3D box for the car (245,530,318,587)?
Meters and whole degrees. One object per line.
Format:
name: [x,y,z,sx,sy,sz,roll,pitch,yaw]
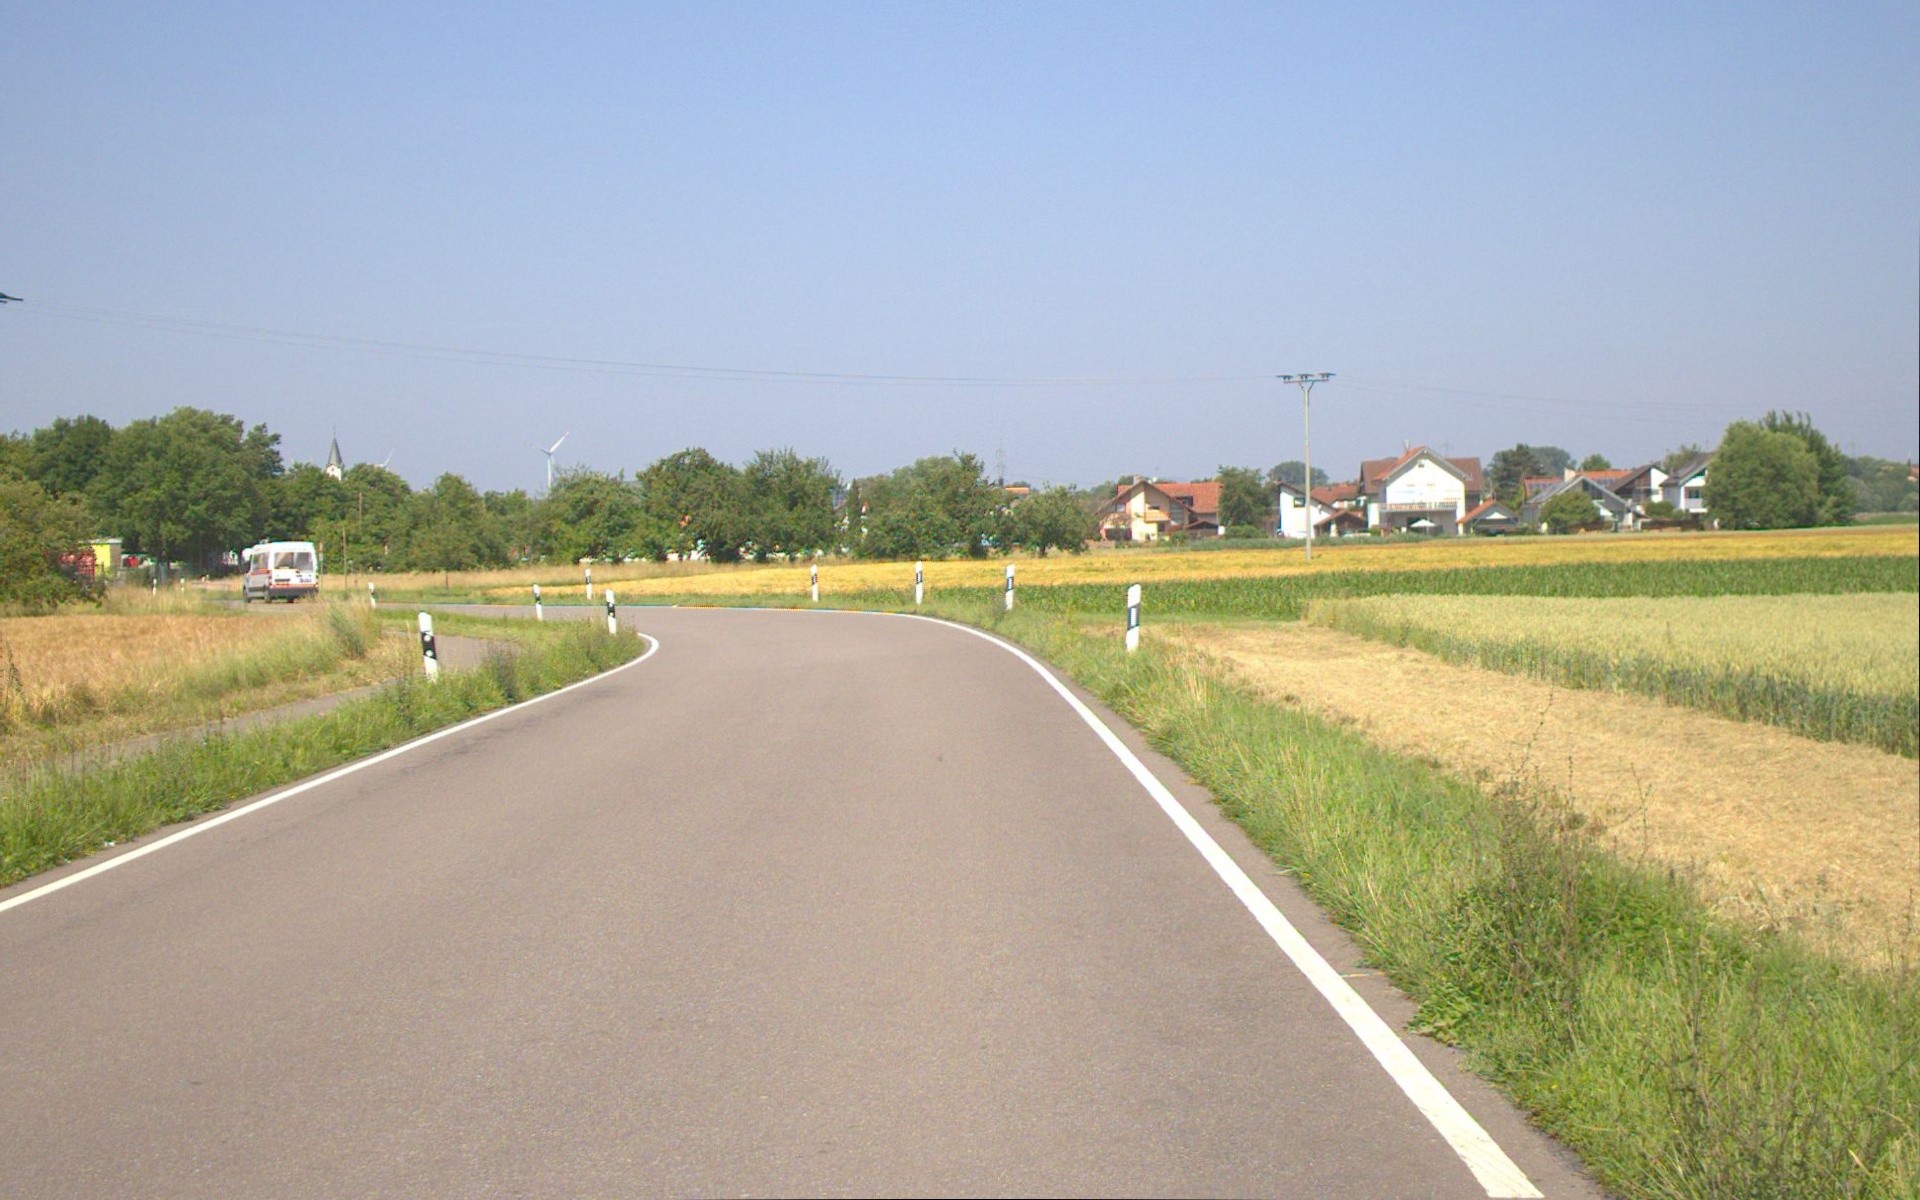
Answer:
car: [-27.549,-1.674,139.526,1.993,2.258,4.727,-2,1,-22]
